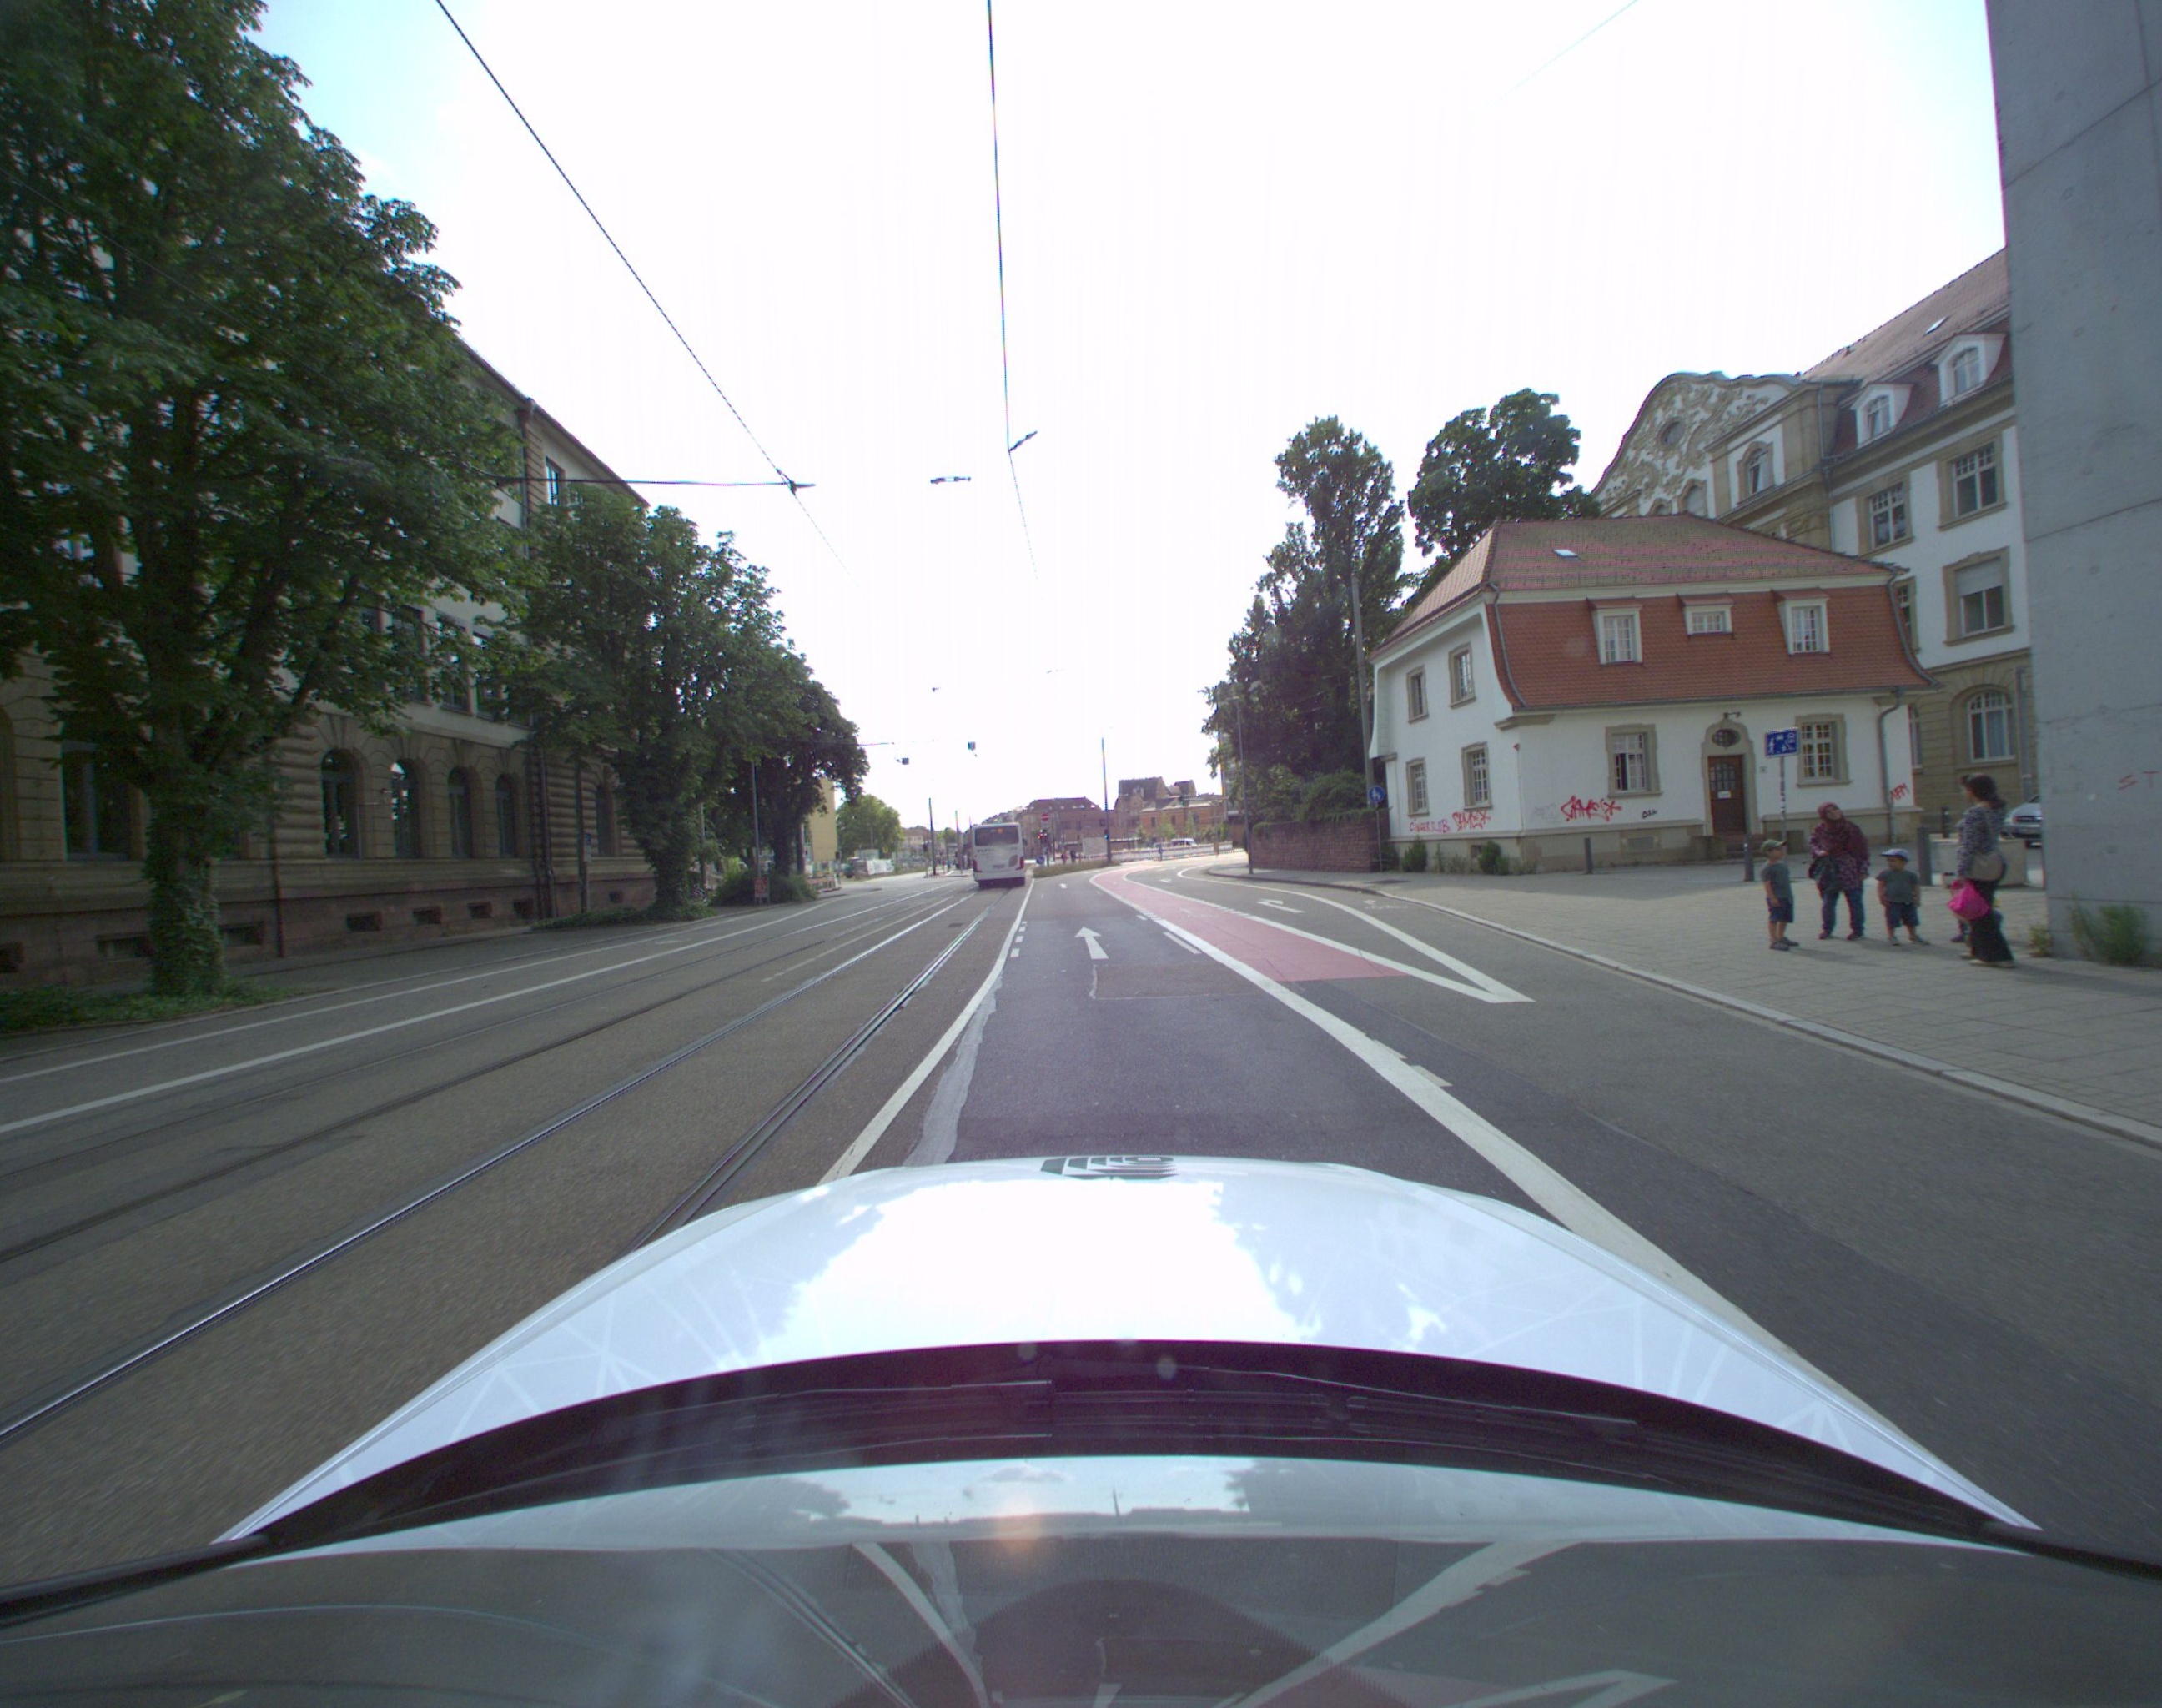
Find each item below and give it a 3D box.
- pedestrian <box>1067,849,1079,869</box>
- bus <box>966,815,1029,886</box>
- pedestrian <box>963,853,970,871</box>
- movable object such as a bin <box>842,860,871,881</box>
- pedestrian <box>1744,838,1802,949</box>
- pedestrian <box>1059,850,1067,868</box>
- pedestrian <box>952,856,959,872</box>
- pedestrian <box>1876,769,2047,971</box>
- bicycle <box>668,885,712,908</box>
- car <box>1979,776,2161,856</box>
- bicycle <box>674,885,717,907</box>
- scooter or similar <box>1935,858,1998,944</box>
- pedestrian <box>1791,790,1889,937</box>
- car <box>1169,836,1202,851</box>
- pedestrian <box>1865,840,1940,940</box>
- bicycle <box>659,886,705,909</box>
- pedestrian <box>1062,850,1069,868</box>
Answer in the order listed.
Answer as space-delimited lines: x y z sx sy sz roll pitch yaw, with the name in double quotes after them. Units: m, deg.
-0.777 0.493 79.861 0.796 1.884 0.607 -4 0 -28 "pedestrian"
-4.466 -0.109 46.003 2.912 3.328 12.189 -3 0 -3 "bus"
-12.761 0.886 90.534 0.609 1.884 0.793 -4 0 -3 "pedestrian"
-30.276 2.233 109.764 2.634 2.574 3.999 -4 0 -1 "movable object such as a bin"
7.884 0.447 9.272 0.425 1.200 0.401 -6 2 -44 "pedestrian"
-1.688 0.473 78.347 0.610 1.706 0.621 -4 0 -7 "pedestrian"
-14.691 1.143 95.180 0.609 1.884 0.793 -4 0 -2 "pedestrian"
8.119 0.129 7.542 0.683 1.724 0.746 -5 1 -4 "pedestrian"
-22.619 2.449 47.114 2.110 1.168 0.729 -3 -1 -5 "bicycle"
23.639 -0.911 18.859 3.867 1.604 1.665 -4 2 0 "car"
-22.722 2.460 48.003 2.110 1.168 0.729 -3 -1 -5 "bicycle"
9.129 0.472 8.397 0.551 0.800 0.265 -7 2 -27 "scooter or similar"
8.603 0.098 9.241 0.520 1.580 0.546 -5 1 -13 "pedestrian"
18.089 -1.804 141.167 2.313 2.319 5.523 -3 0 -39 "car"
8.753 0.375 8.683 0.343 1.010 0.395 -5 1 -12 "pedestrian"
-22.489 2.435 45.923 2.110 1.168 0.729 -3 -1 -5 "bicycle"
-1.525 0.520 79.339 0.405 1.736 0.625 -4 0 23 "pedestrian"
